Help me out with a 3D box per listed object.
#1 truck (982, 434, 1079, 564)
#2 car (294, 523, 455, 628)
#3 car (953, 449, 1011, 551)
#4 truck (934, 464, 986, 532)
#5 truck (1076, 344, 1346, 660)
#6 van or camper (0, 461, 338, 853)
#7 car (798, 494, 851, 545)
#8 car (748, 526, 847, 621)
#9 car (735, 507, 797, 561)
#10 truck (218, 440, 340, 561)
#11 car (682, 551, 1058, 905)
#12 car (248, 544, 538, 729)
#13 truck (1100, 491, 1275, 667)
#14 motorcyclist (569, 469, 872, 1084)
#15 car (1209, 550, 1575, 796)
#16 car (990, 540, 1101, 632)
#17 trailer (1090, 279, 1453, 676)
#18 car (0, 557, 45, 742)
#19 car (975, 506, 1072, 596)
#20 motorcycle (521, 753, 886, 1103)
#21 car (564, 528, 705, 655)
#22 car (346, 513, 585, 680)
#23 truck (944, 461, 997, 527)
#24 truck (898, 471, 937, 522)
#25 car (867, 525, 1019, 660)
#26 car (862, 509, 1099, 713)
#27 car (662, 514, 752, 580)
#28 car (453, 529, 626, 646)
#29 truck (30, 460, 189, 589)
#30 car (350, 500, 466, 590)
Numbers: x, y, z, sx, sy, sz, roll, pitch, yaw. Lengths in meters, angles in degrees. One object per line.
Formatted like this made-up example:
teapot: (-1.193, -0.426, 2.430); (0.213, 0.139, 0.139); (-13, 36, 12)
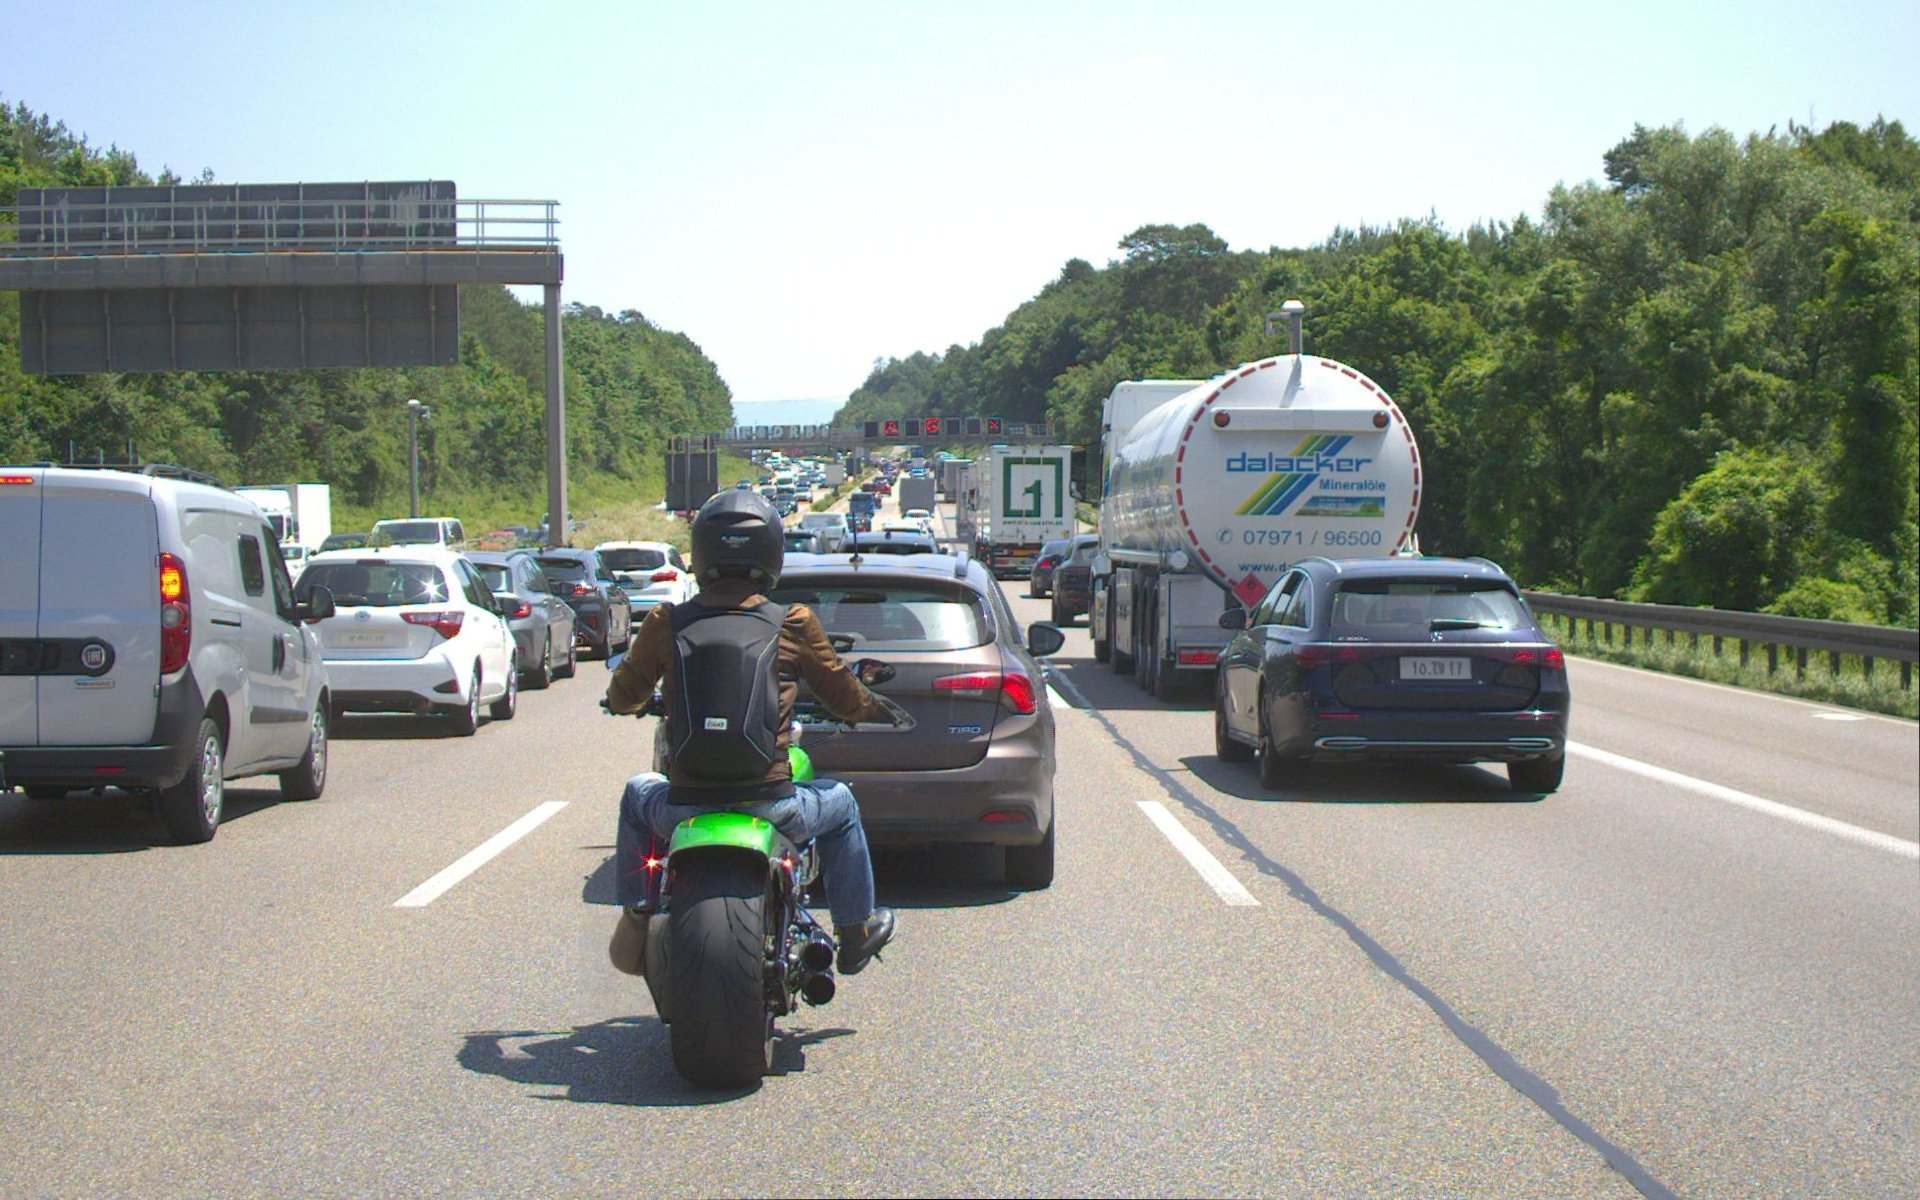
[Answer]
truck: (2.223, -3.080, 106.681); (2.854, 3.808, 7.187); (1, 0, 2)
car: (-8.690, -0.390, 51.302); (1.824, 1.489, 4.000); (0, 1, -2)
car: (0.851, -3.986, 139.995); (2.167, 3.879, 9.330); (1, 0, -1)
truck: (0.020, -3.359, 113.816); (1.591, 2.104, 3.751); (1, 0, 2)
truck: (3.028, -1.145, 43.237); (2.828, 3.658, 6.430); (1, 0, -1)
van or camper: (-4.676, 0.212, 18.790); (1.853, 1.874, 4.562); (1, 1, -2)
car: (-5.455, -3.232, 138.324); (1.993, 2.007, 4.000); (-1, 1, -1)
car: (-3.524, -0.566, 75.174); (1.993, 2.007, 4.000); (1, 0, -1)
car: (-5.853, -1.974, 104.128); (1.660, 1.594, 4.000); (0, 0, 0)
truck: (-23.584, -3.387, 119.359); (2.692, 3.976, 7.990); (1, 0, -1)
car: (-0.395, 0.502, 16.216); (1.541, 1.445, 4.000); (1, 1, -1)
car: (-4.623, 0.280, 28.553); (1.776, 1.406, 4.000); (1, 0, -1)
truck: (4.022, -0.428, 62.359); (2.388, 2.969, 8.253); (0, 1, -2)
motorcyclist: (-0.671, 0.485, 9.958); (0.799, 1.682, 1.016); (1, 0, -1)
car: (2.745, 0.434, 22.824); (1.792, 1.453, 4.624); (1, 0, -1)
car: (1.444, -0.238, 59.345); (1.776, 1.522, 4.000); (1, 0, -1)
trailer: (3.101, -1.144, 37.336); (2.828, 3.658, 10.733); (1, 0, -1)
car: (-11.385, 0.526, 36.996); (1.993, 2.007, 4.000); (1, 0, 0)
car: (1.441, -1.108, 79.476); (1.993, 2.007, 4.000); (1, 0, -2)
motorcycle: (-0.704, 0.920, 10.257); (0.936, 0.790, 2.299); (1, 1, -1)
car: (-5.324, -0.138, 56.697); (1.993, 2.007, 4.000); (1, 0, -1)
car: (-5.262, -0.035, 37.110); (1.993, 1.678, 4.330); (1, 0, -1)
truck: (0.548, -5.757, 188.070); (2.696, 3.394, 10.479); (-1, 1, -1)
truck: (-2.992, -7.290, 242.613); (2.696, 3.394, 10.479); (-1, 1, -1)
car: (-0.275, -0.101, 47.249); (1.993, 1.769, 4.000); (1, 0, -1)
car: (0.124, 0.093, 31.068); (1.993, 1.705, 4.000); (1, 0, -1)
car: (-5.777, -1.198, 78.958); (1.764, 1.437, 4.000); (1, 0, 0)
car: (-5.484, -0.161, 45.297); (1.993, 1.459, 4.000); (1, 0, -3)
truck: (-19.914, -1.720, 80.816); (2.177, 2.875, 6.743); (1, 0, -1)
car: (-12.697, -1.244, 79.314); (1.993, 2.007, 4.000); (1, 0, 0)
